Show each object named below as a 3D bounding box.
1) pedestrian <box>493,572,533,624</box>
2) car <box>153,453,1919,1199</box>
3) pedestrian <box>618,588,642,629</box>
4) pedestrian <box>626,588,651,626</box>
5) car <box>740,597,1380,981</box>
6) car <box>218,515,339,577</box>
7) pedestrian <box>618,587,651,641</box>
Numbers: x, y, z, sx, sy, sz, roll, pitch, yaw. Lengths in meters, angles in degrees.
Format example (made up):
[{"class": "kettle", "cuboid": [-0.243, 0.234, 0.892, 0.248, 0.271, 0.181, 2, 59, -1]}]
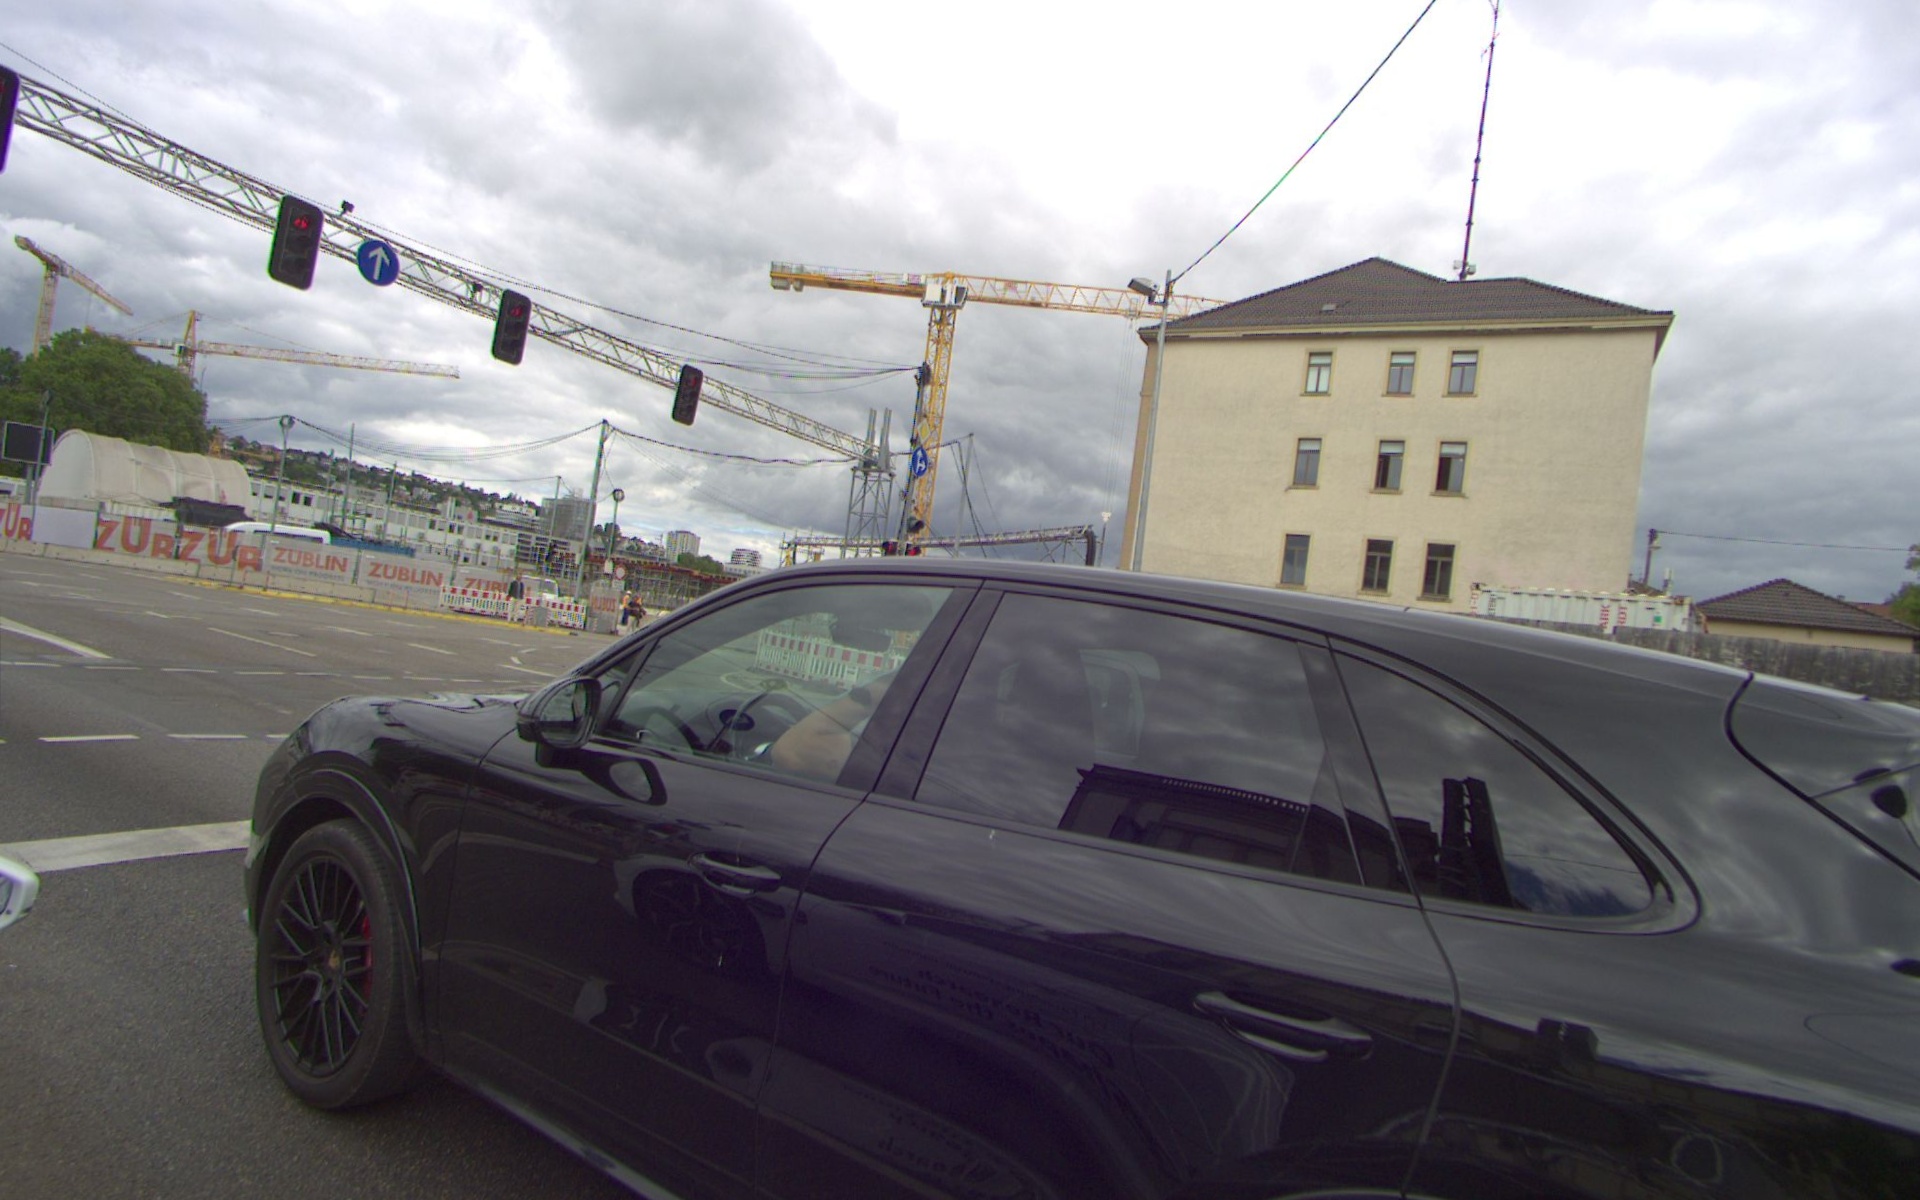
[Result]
[{"class": "pedestrian", "cuboid": [-17.416, -0.067, 39.197, 1.040, 1.869, 0.781, 8, -1, -42]}, {"class": "car", "cuboid": [0.001, 0.682, 2.714, 4.505, 1.687, 1.996, 6, -2, 34]}, {"class": "pedestrian", "cuboid": [-17.641, 0.446, 53.823, 0.855, 2.037, 0.677, 6, -1, 44]}, {"class": "pedestrian", "cuboid": [-17.463, 0.400, 54.634, 0.850, 1.938, 0.680, 7, -1, 26]}, {"class": "car", "cuboid": [0.582, 0.991, 6.551, 3.587, 1.527, 1.825, 6, -2, 33]}, {"class": "car", "cuboid": [-29.525, -2.325, 43.640, 3.976, 2.037, 1.976, 9, -2, -43]}, {"class": "pedestrian", "cuboid": [-13.311, 0.565, 41.205, 1.031, 2.037, 1.031, 7, -1, -18]}]
